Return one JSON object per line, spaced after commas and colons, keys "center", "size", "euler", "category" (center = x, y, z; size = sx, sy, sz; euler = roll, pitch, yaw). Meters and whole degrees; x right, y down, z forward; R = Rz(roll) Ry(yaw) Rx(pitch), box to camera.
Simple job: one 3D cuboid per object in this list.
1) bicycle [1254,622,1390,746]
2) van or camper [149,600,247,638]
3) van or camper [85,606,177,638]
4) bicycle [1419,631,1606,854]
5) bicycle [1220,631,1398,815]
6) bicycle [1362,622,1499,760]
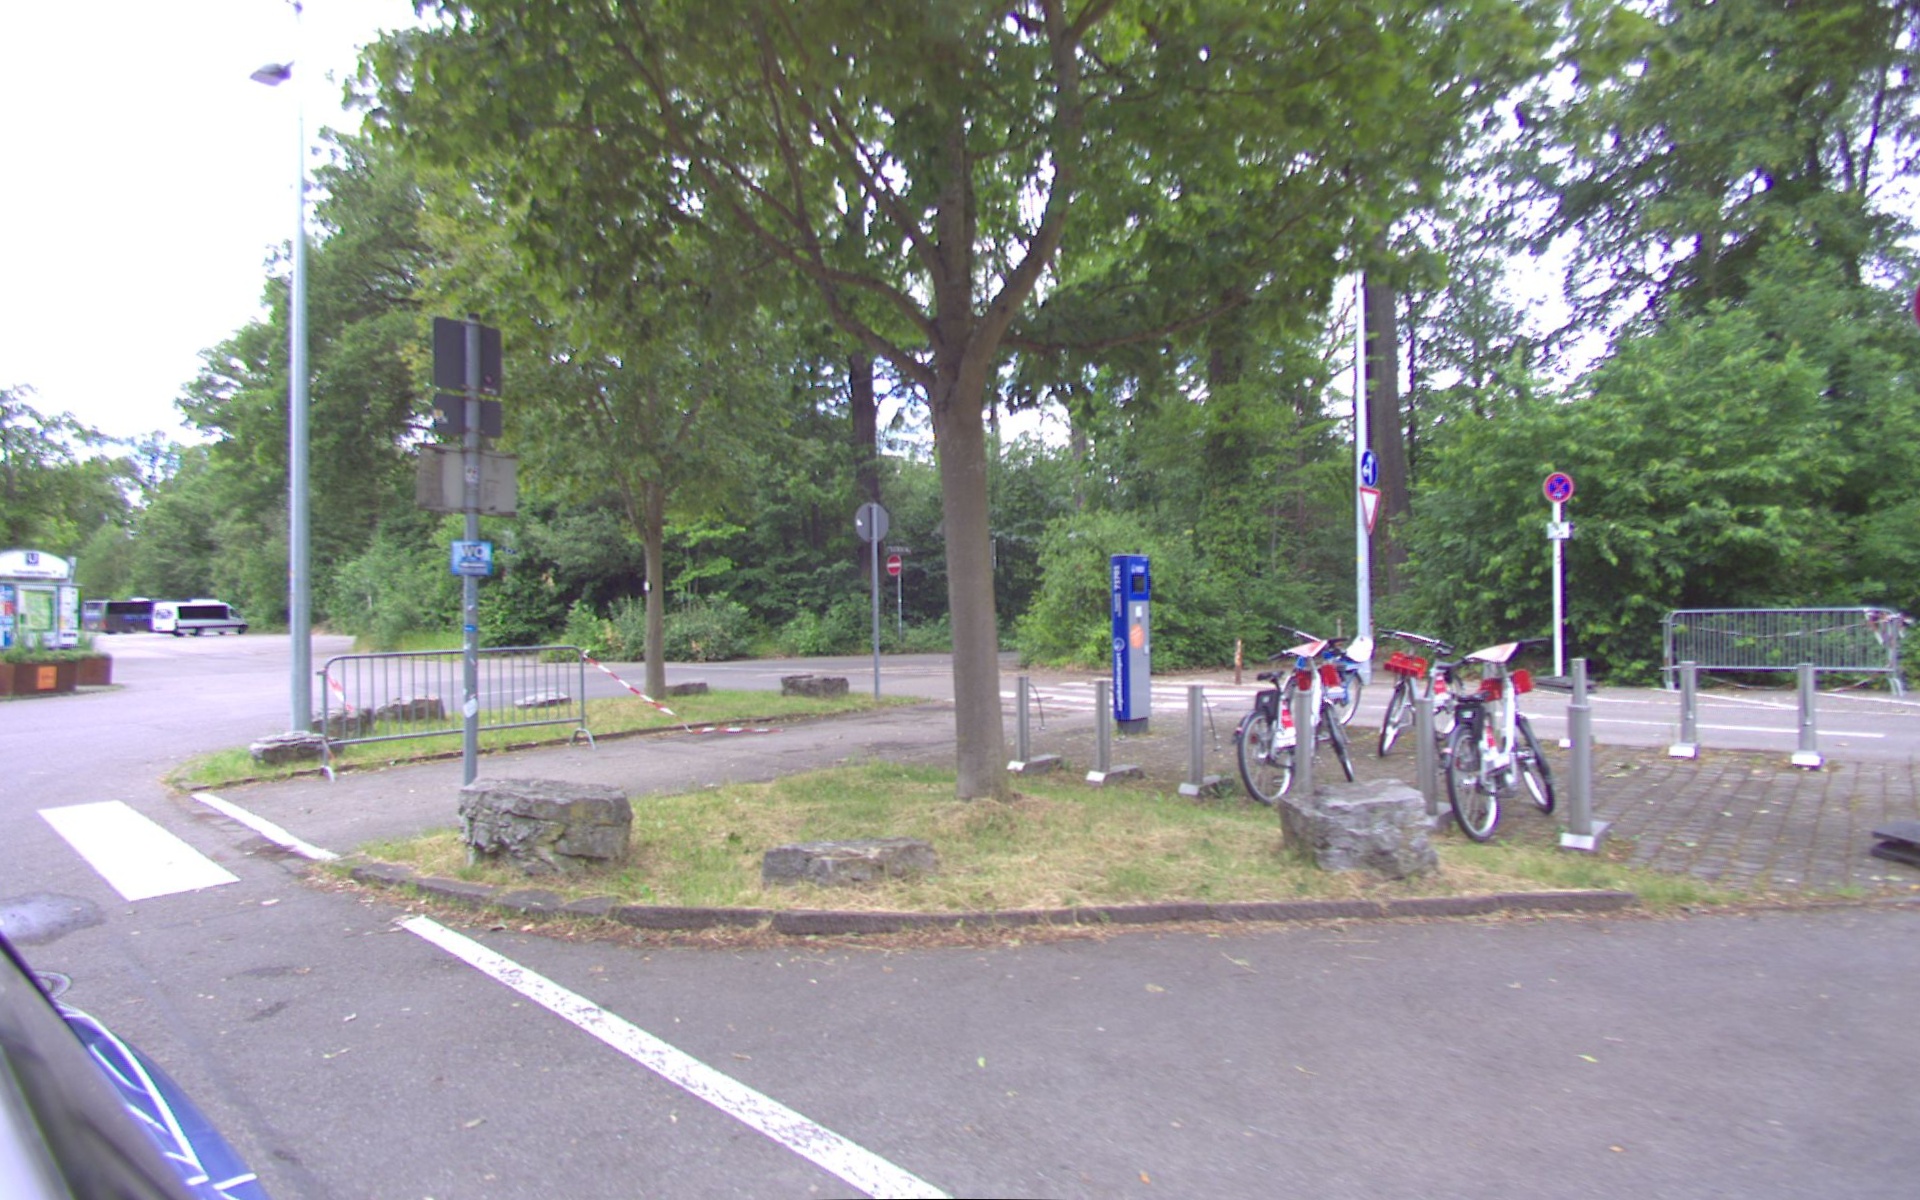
{"center": [3.656, 0.798, 10.155], "size": [1.670, 1.120, 0.483], "euler": [-1, -1, -39], "category": "bicycle"}
{"center": [-60.979, 1.465, 81.196], "size": [2.041, 2.871, 7.334], "euler": [-1, 0, 3], "category": "van or camper"}
{"center": [-79.245, 2.034, 96.938], "size": [2.178, 2.871, 7.325], "euler": [-1, 0, 7], "category": "van or camper"}
{"center": [3.394, 0.777, 6.142], "size": [1.762, 1.120, 0.483], "euler": [-1, -1, -44], "category": "bicycle"}
{"center": [2.513, 0.805, 7.190], "size": [1.660, 1.120, 0.483], "euler": [-1, -1, -44], "category": "bicycle"}
{"center": [4.338, 0.786, 9.278], "size": [1.659, 1.120, 0.507], "euler": [-1, -1, -42], "category": "bicycle"}
